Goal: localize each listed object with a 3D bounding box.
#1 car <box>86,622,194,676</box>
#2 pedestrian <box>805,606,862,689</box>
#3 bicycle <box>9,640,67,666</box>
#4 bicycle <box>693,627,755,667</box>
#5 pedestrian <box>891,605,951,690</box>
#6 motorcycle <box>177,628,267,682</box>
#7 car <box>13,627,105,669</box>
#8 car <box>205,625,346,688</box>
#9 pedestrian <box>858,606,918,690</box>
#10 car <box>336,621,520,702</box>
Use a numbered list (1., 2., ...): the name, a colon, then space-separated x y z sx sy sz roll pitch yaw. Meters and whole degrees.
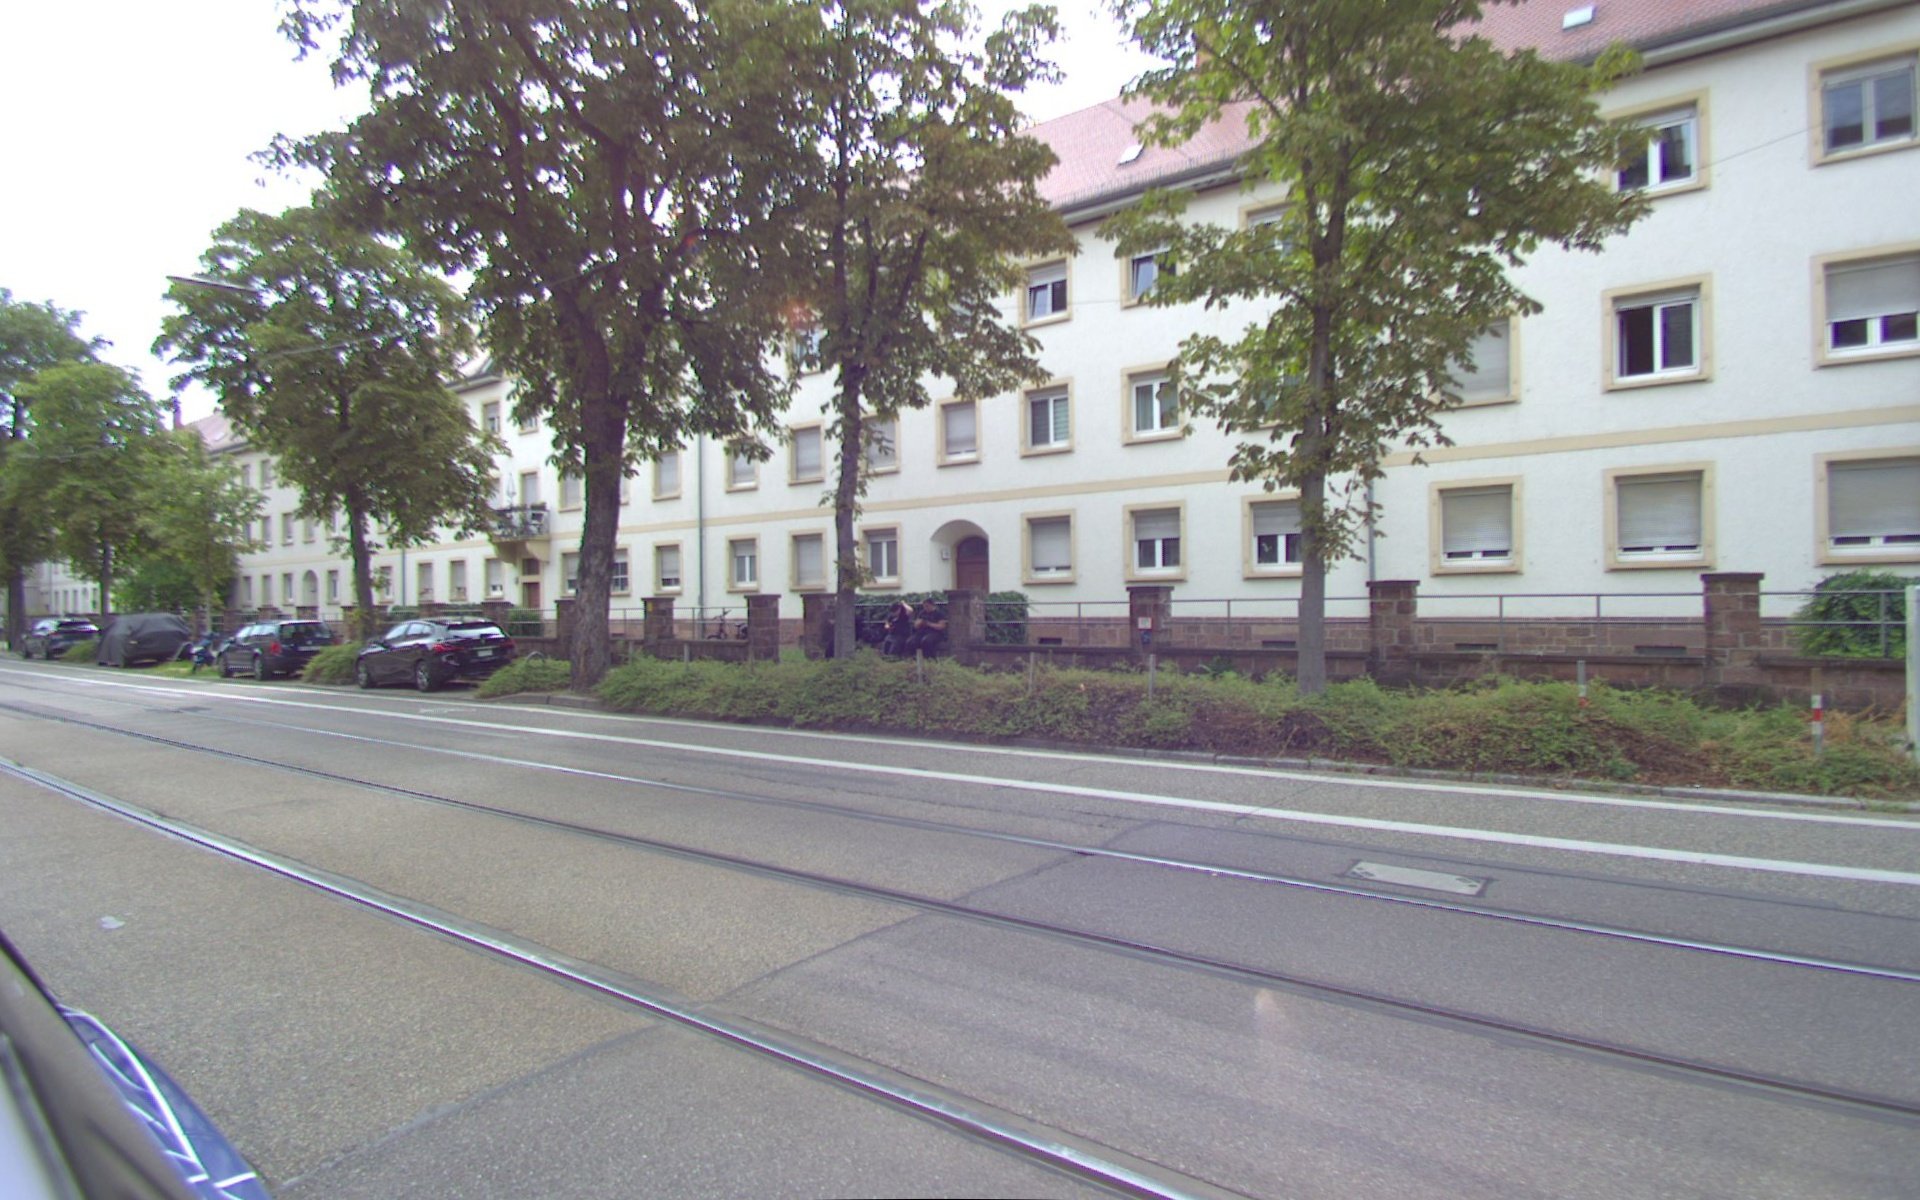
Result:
1. car: -26.705 1.570 32.910 4.292 1.624 1.769 -2 -1 37
2. pedestrian: -2.407 0.888 19.284 0.730 1.524 0.826 -2 -1 32
3. bicycle: -37.713 2.146 41.408 0.670 0.978 1.656 -1 -1 28
4. bicycle: -5.310 1.048 22.724 1.547 0.869 0.504 -2 -1 37
5. pedestrian: -0.687 0.831 18.086 0.730 1.476 0.826 -2 -1 32
6. motorcycle: -20.663 1.512 28.360 0.590 1.269 1.852 -2 4 33
7. car: -34.179 1.781 38.375 4.289 1.481 1.682 -2 -1 35
8. car: -17.616 1.403 25.971 4.292 1.434 1.681 -2 0 37
9. pedestrian: -1.310 0.858 18.476 0.730 1.476 0.826 -2 -1 32
10. car: -11.184 1.224 21.158 4.292 1.434 1.681 -2 2 37
